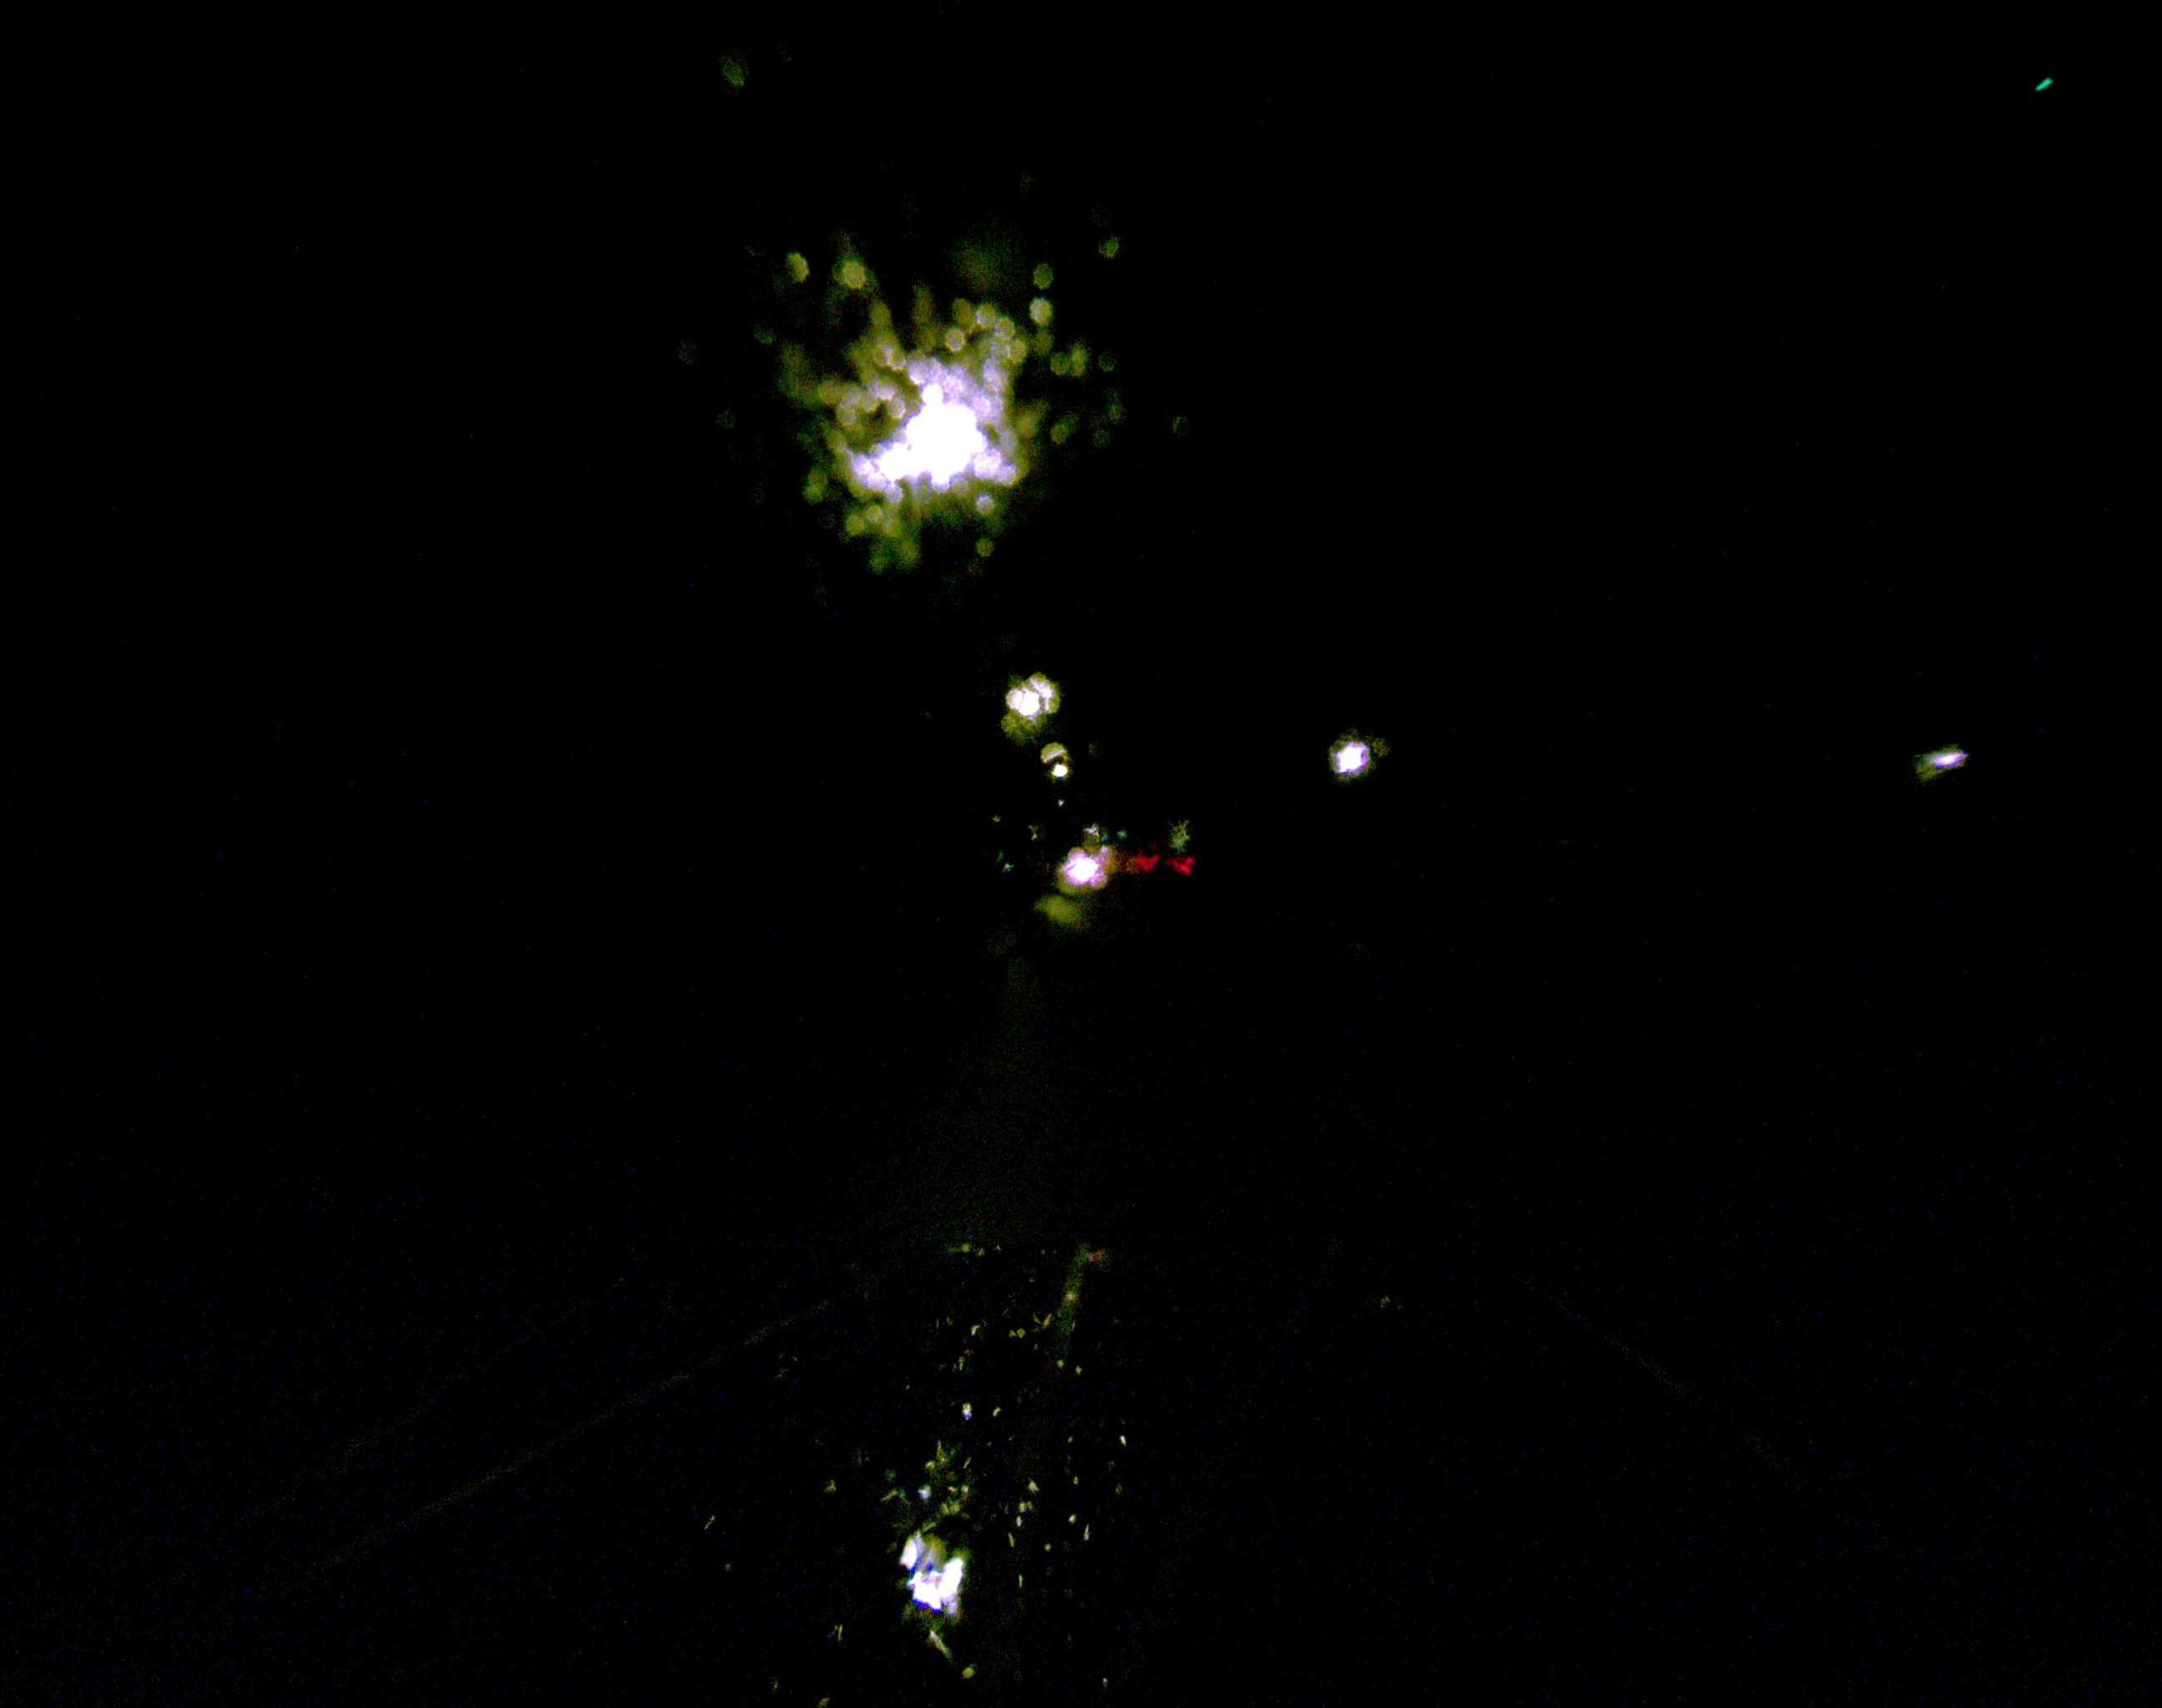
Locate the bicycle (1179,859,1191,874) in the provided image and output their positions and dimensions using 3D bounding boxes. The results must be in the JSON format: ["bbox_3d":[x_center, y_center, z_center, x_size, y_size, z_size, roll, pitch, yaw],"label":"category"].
[{"bbox_3d":[8.335,0.956,60.800,0.631,1.154,2.313,0,0,0],"label":"bicycle"}]

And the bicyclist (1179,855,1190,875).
[{"bbox_3d":[8.284,0.904,60.793,0.638,1.585,0.961,-2,-2,0],"label":"bicyclist"}]

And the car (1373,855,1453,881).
[{"bbox_3d":[19.690,0.820,45.155,4.084,1.364,1.494,0,4,5],"label":"car"}]

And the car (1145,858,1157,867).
[{"bbox_3d":[13.903,1.676,150.320,1.997,1.447,4.306,3,0,8],"label":"car"}]
